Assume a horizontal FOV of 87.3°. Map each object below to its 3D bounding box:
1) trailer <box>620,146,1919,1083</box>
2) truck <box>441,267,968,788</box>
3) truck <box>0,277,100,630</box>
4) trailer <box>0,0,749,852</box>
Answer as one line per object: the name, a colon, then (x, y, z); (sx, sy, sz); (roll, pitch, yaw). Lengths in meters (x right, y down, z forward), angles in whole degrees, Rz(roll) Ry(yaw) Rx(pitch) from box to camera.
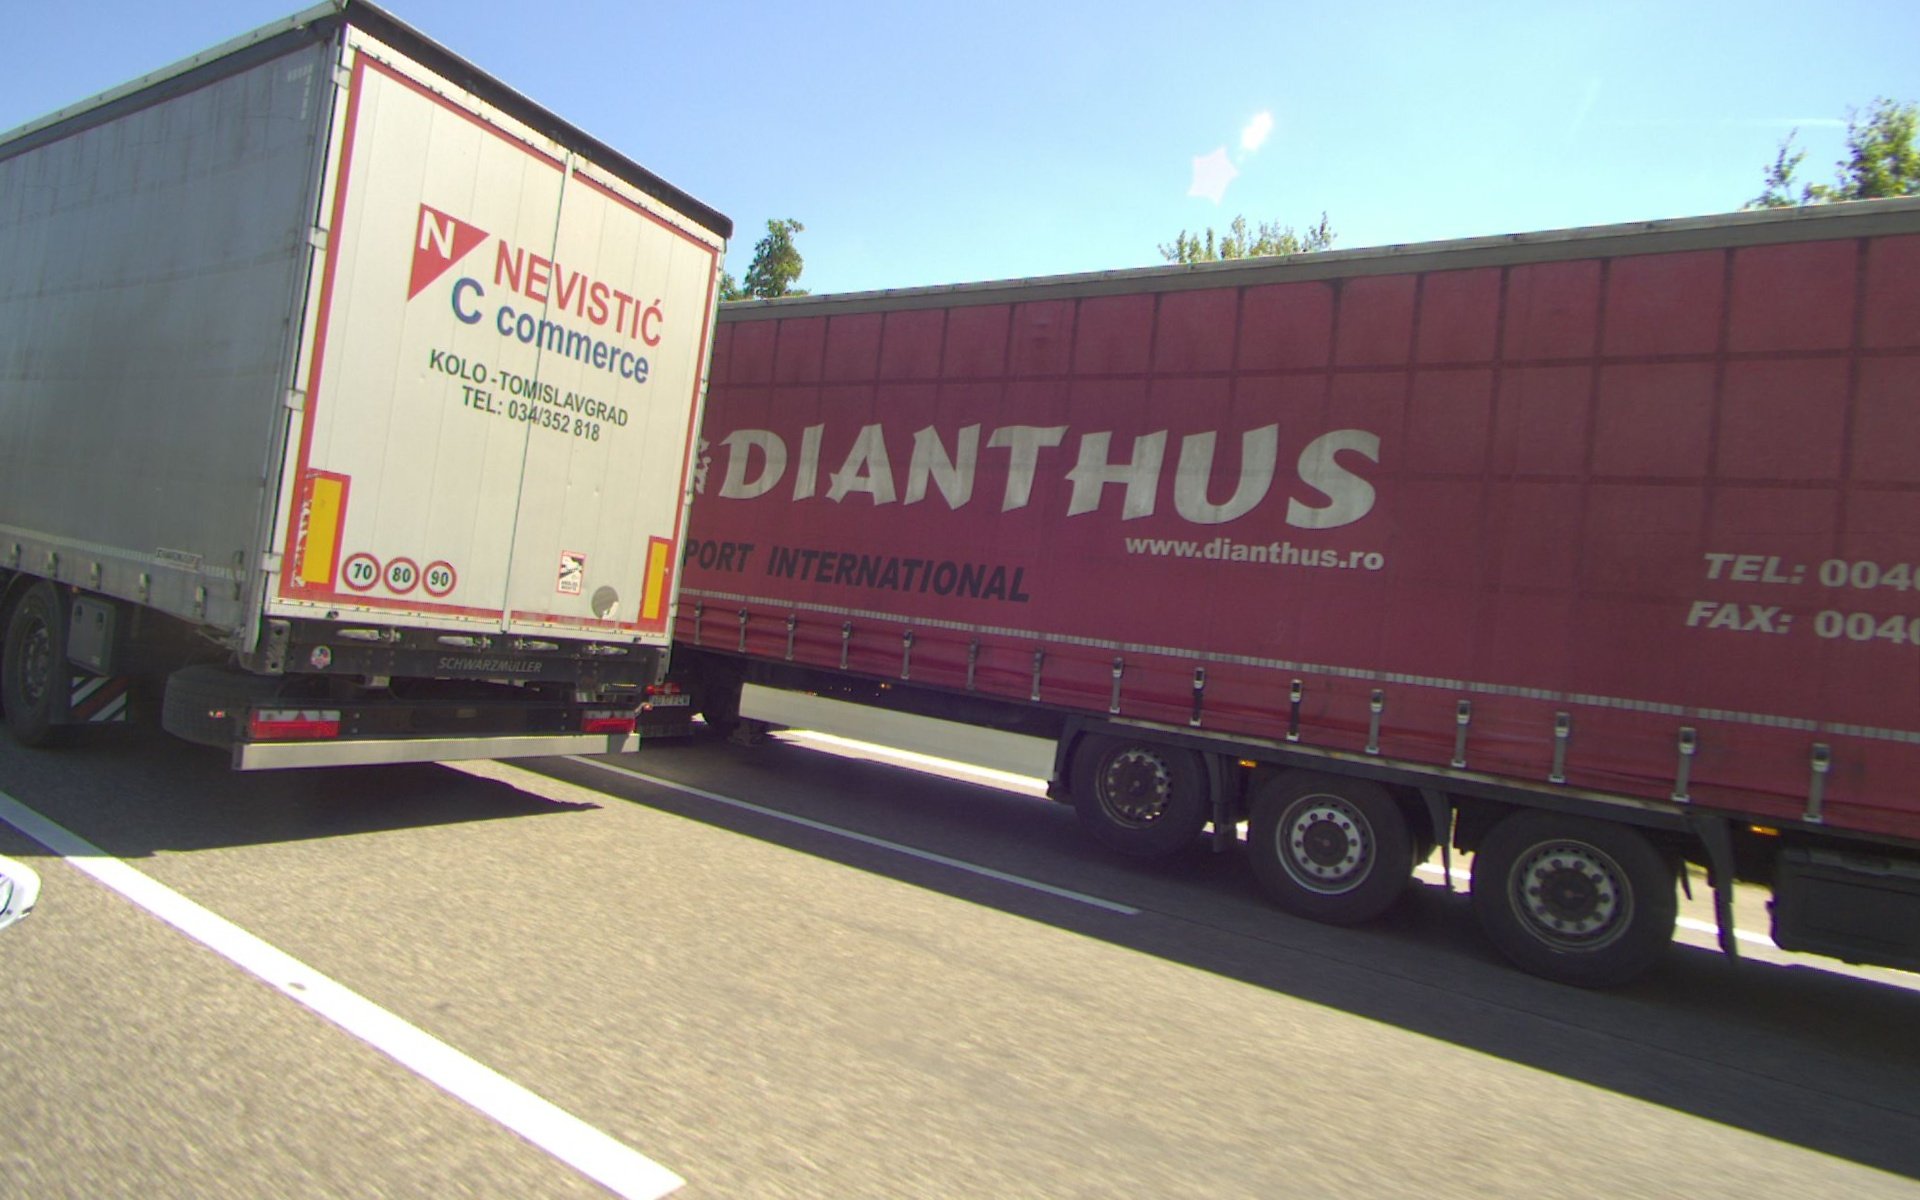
trailer: (2.180, -0.178, 7.363); (10.478, 4.292, 2.319); (6, -1, 32)
truck: (-2.701, -0.696, 10.418); (4.596, 4.281, 2.332); (6, -1, 32)
truck: (-14.484, -2.091, 13.230); (6.346, 4.142, 2.705); (6, -1, 32)
trailer: (-8.488, -1.448, 9.486); (14.502, 4.116, 2.712); (6, -1, 32)
